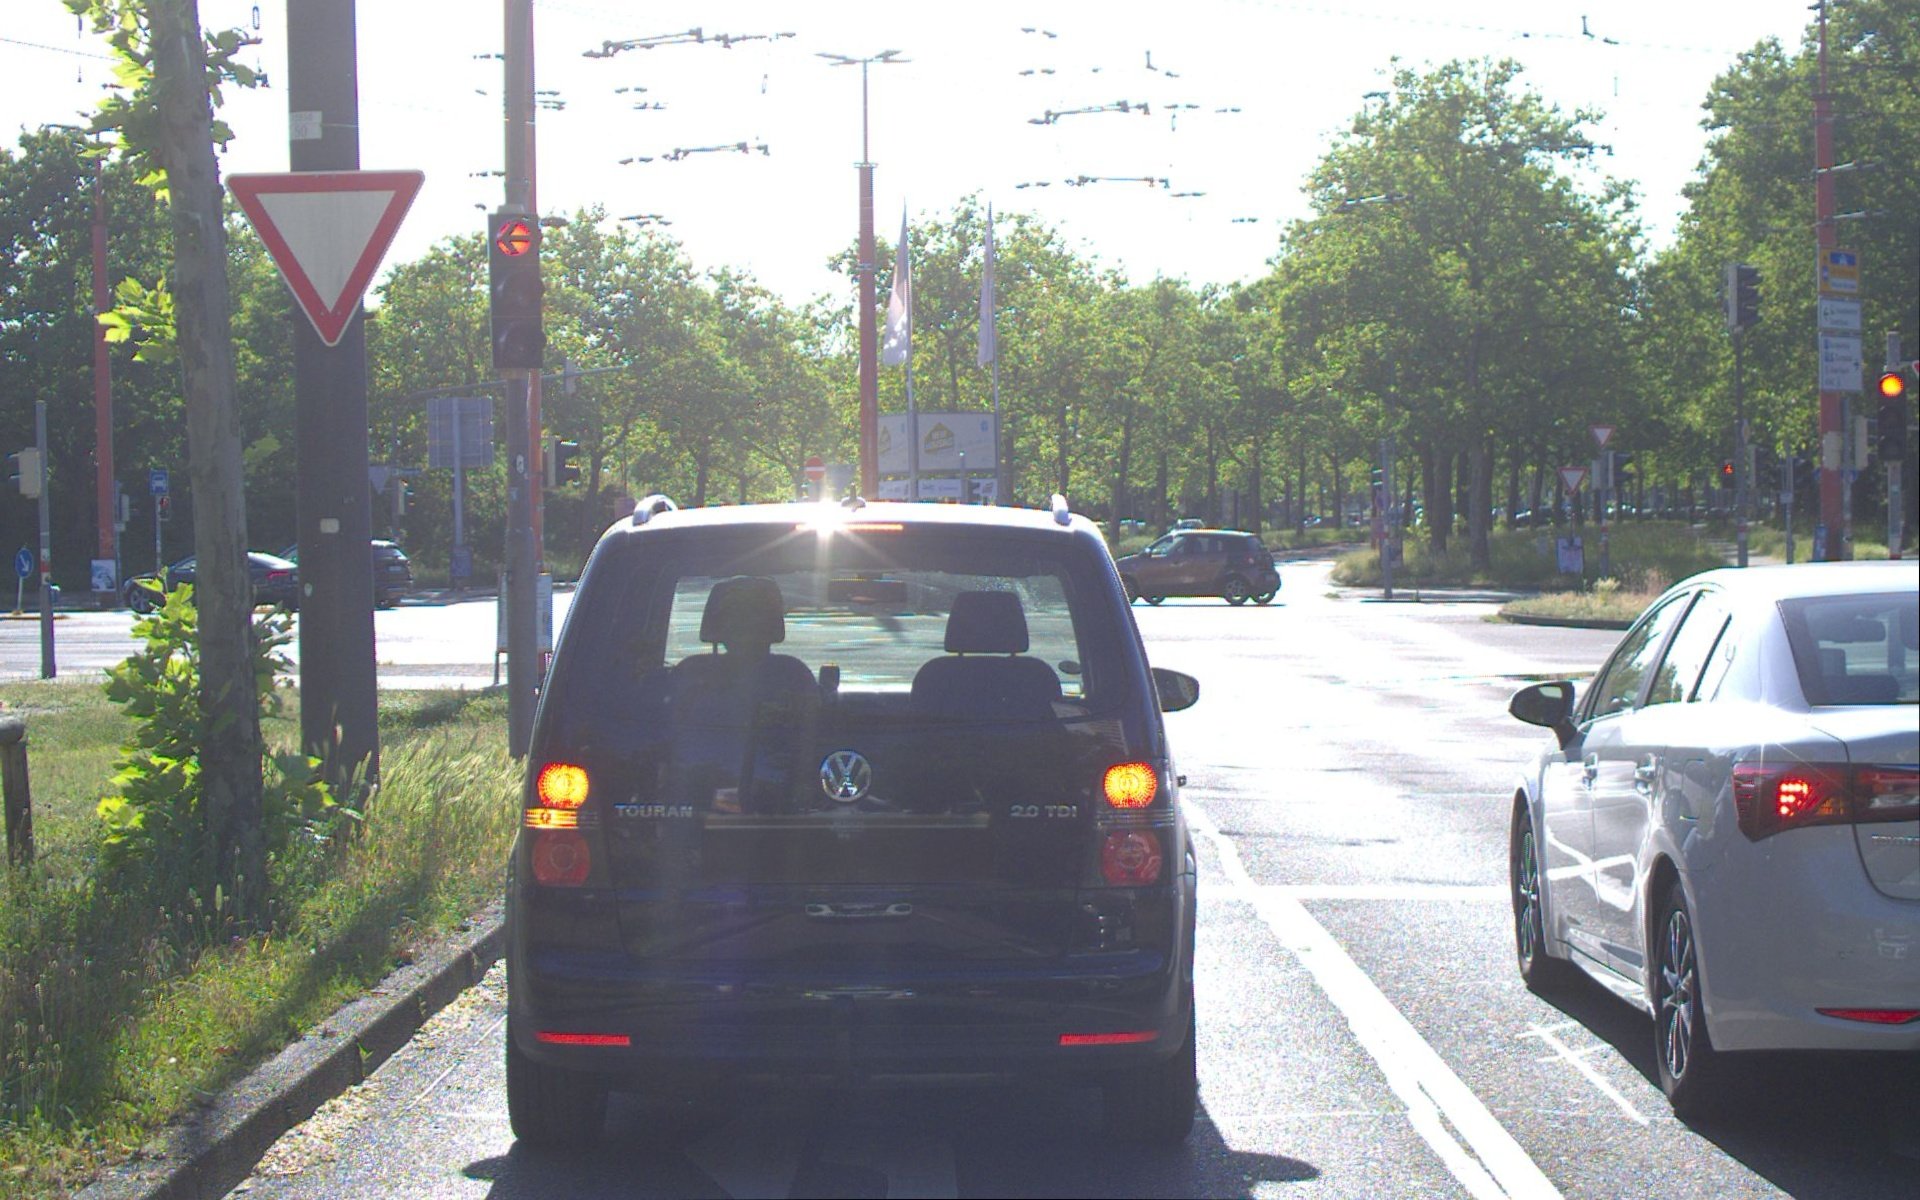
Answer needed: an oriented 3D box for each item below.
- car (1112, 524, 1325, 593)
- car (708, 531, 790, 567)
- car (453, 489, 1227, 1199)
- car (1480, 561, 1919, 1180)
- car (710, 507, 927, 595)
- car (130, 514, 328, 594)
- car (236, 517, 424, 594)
[{"bbox_3d":[5.389,-0.879,71.687,4.124,1.398,1.654,1,1,25],"label":"car"},{"bbox_3d":[-8.336,-2.031,135.407,1.651,1.398,4.133,0,1,-28],"label":"car"},{"bbox_3d":[-0.255,0.537,9.977,1.738,1.597,4.326,1,1,1],"label":"car"},{"bbox_3d":[2.755,0.618,10.156,1.799,1.435,4.326,1,1,1],"label":"car"},{"bbox_3d":[-2.931,-1.029,71.310,4.124,1.784,1.796,1,1,24],"label":"car"},{"bbox_3d":[-16.552,-1.052,77.830,4.124,1.784,1.796,1,1,24],"label":"car"},{"bbox_3d":[-14.980,-1.066,81.744,4.124,1.784,1.796,1,1,26],"label":"car"}]
